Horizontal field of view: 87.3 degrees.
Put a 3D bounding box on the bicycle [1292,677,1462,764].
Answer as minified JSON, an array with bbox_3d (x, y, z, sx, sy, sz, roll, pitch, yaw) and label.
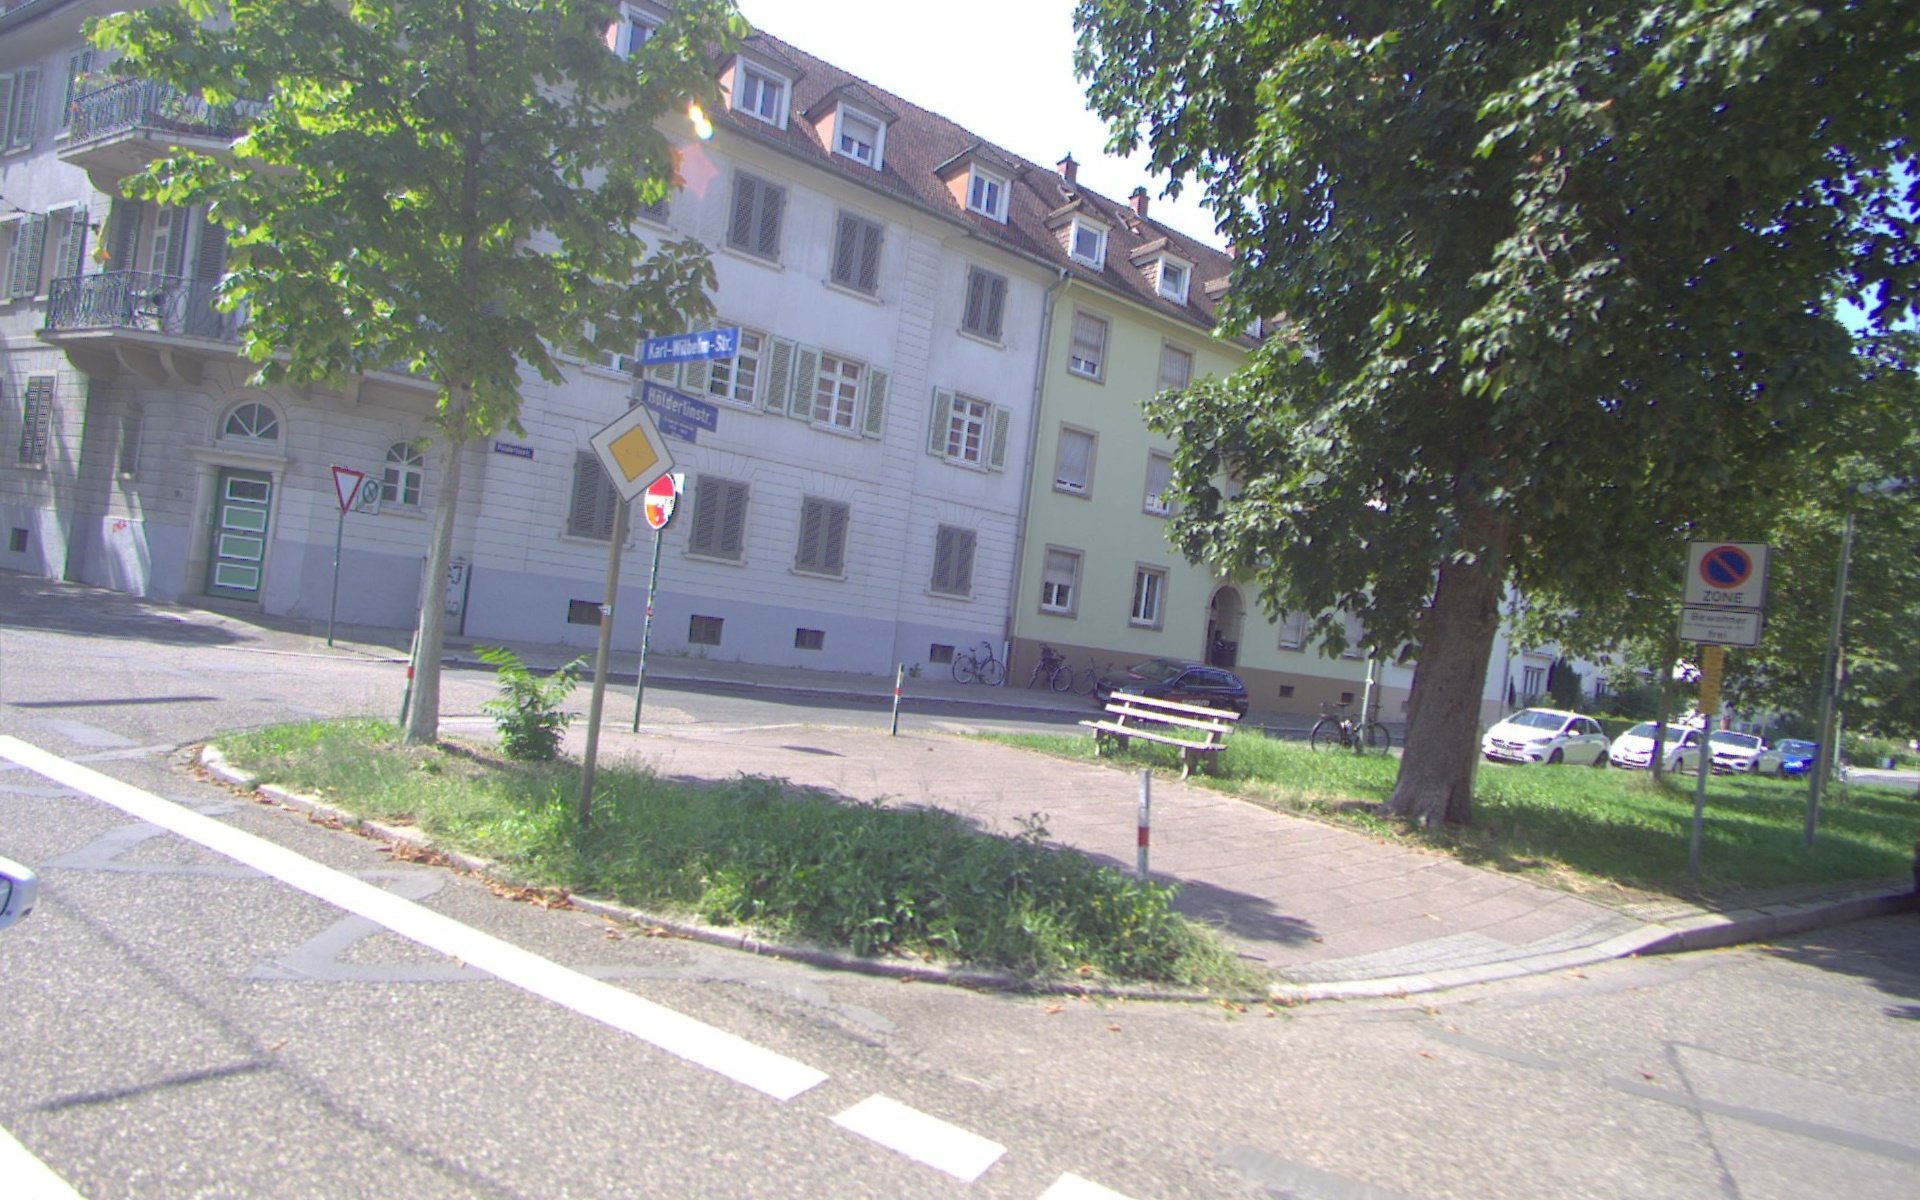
[{"bbox_3d":[7.350,2.126,17.633,3.188,1.125,1.152,10,-2,-36],"label":"bicycle"}]

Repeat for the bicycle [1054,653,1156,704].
[{"bbox_3d":[4.057,2.202,28.087,2.759,1.040,1.151,10,-3,-38],"label":"bicycle"}]

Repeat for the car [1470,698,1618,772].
[{"bbox_3d":[14.997,3.477,25.776,3.938,1.454,1.625,9,-3,-33],"label":"car"}]

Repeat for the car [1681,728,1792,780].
[{"bbox_3d":[25.659,5.092,33.215,3.851,1.293,1.686,9,-3,-33],"label":"car"}]

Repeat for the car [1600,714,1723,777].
[{"bbox_3d":[20.828,4.332,29.834,3.748,1.446,1.625,9,-3,-33],"label":"car"}]

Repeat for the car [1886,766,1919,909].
[{"bbox_3d":[11.468,2.623,10.462,3.913,1.363,1.747,9,-3,-33],"label":"car"}]

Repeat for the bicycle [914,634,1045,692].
[{"bbox_3d":[0.528,1.617,25.584,3.188,1.040,1.152,10,-3,-36],"label":"bicycle"}]

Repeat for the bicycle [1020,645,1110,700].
[{"bbox_3d":[2.744,1.885,26.547,1.005,1.131,2.252,9,-3,-35],"label":"bicycle"}]

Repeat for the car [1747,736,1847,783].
[{"bbox_3d":[30.407,5.790,36.532,3.851,1.293,1.686,9,-3,-33],"label":"car"}]

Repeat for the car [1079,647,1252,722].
[{"bbox_3d":[5.201,2.150,25.311,4.243,1.398,1.668,9,-3,-33],"label":"car"}]
